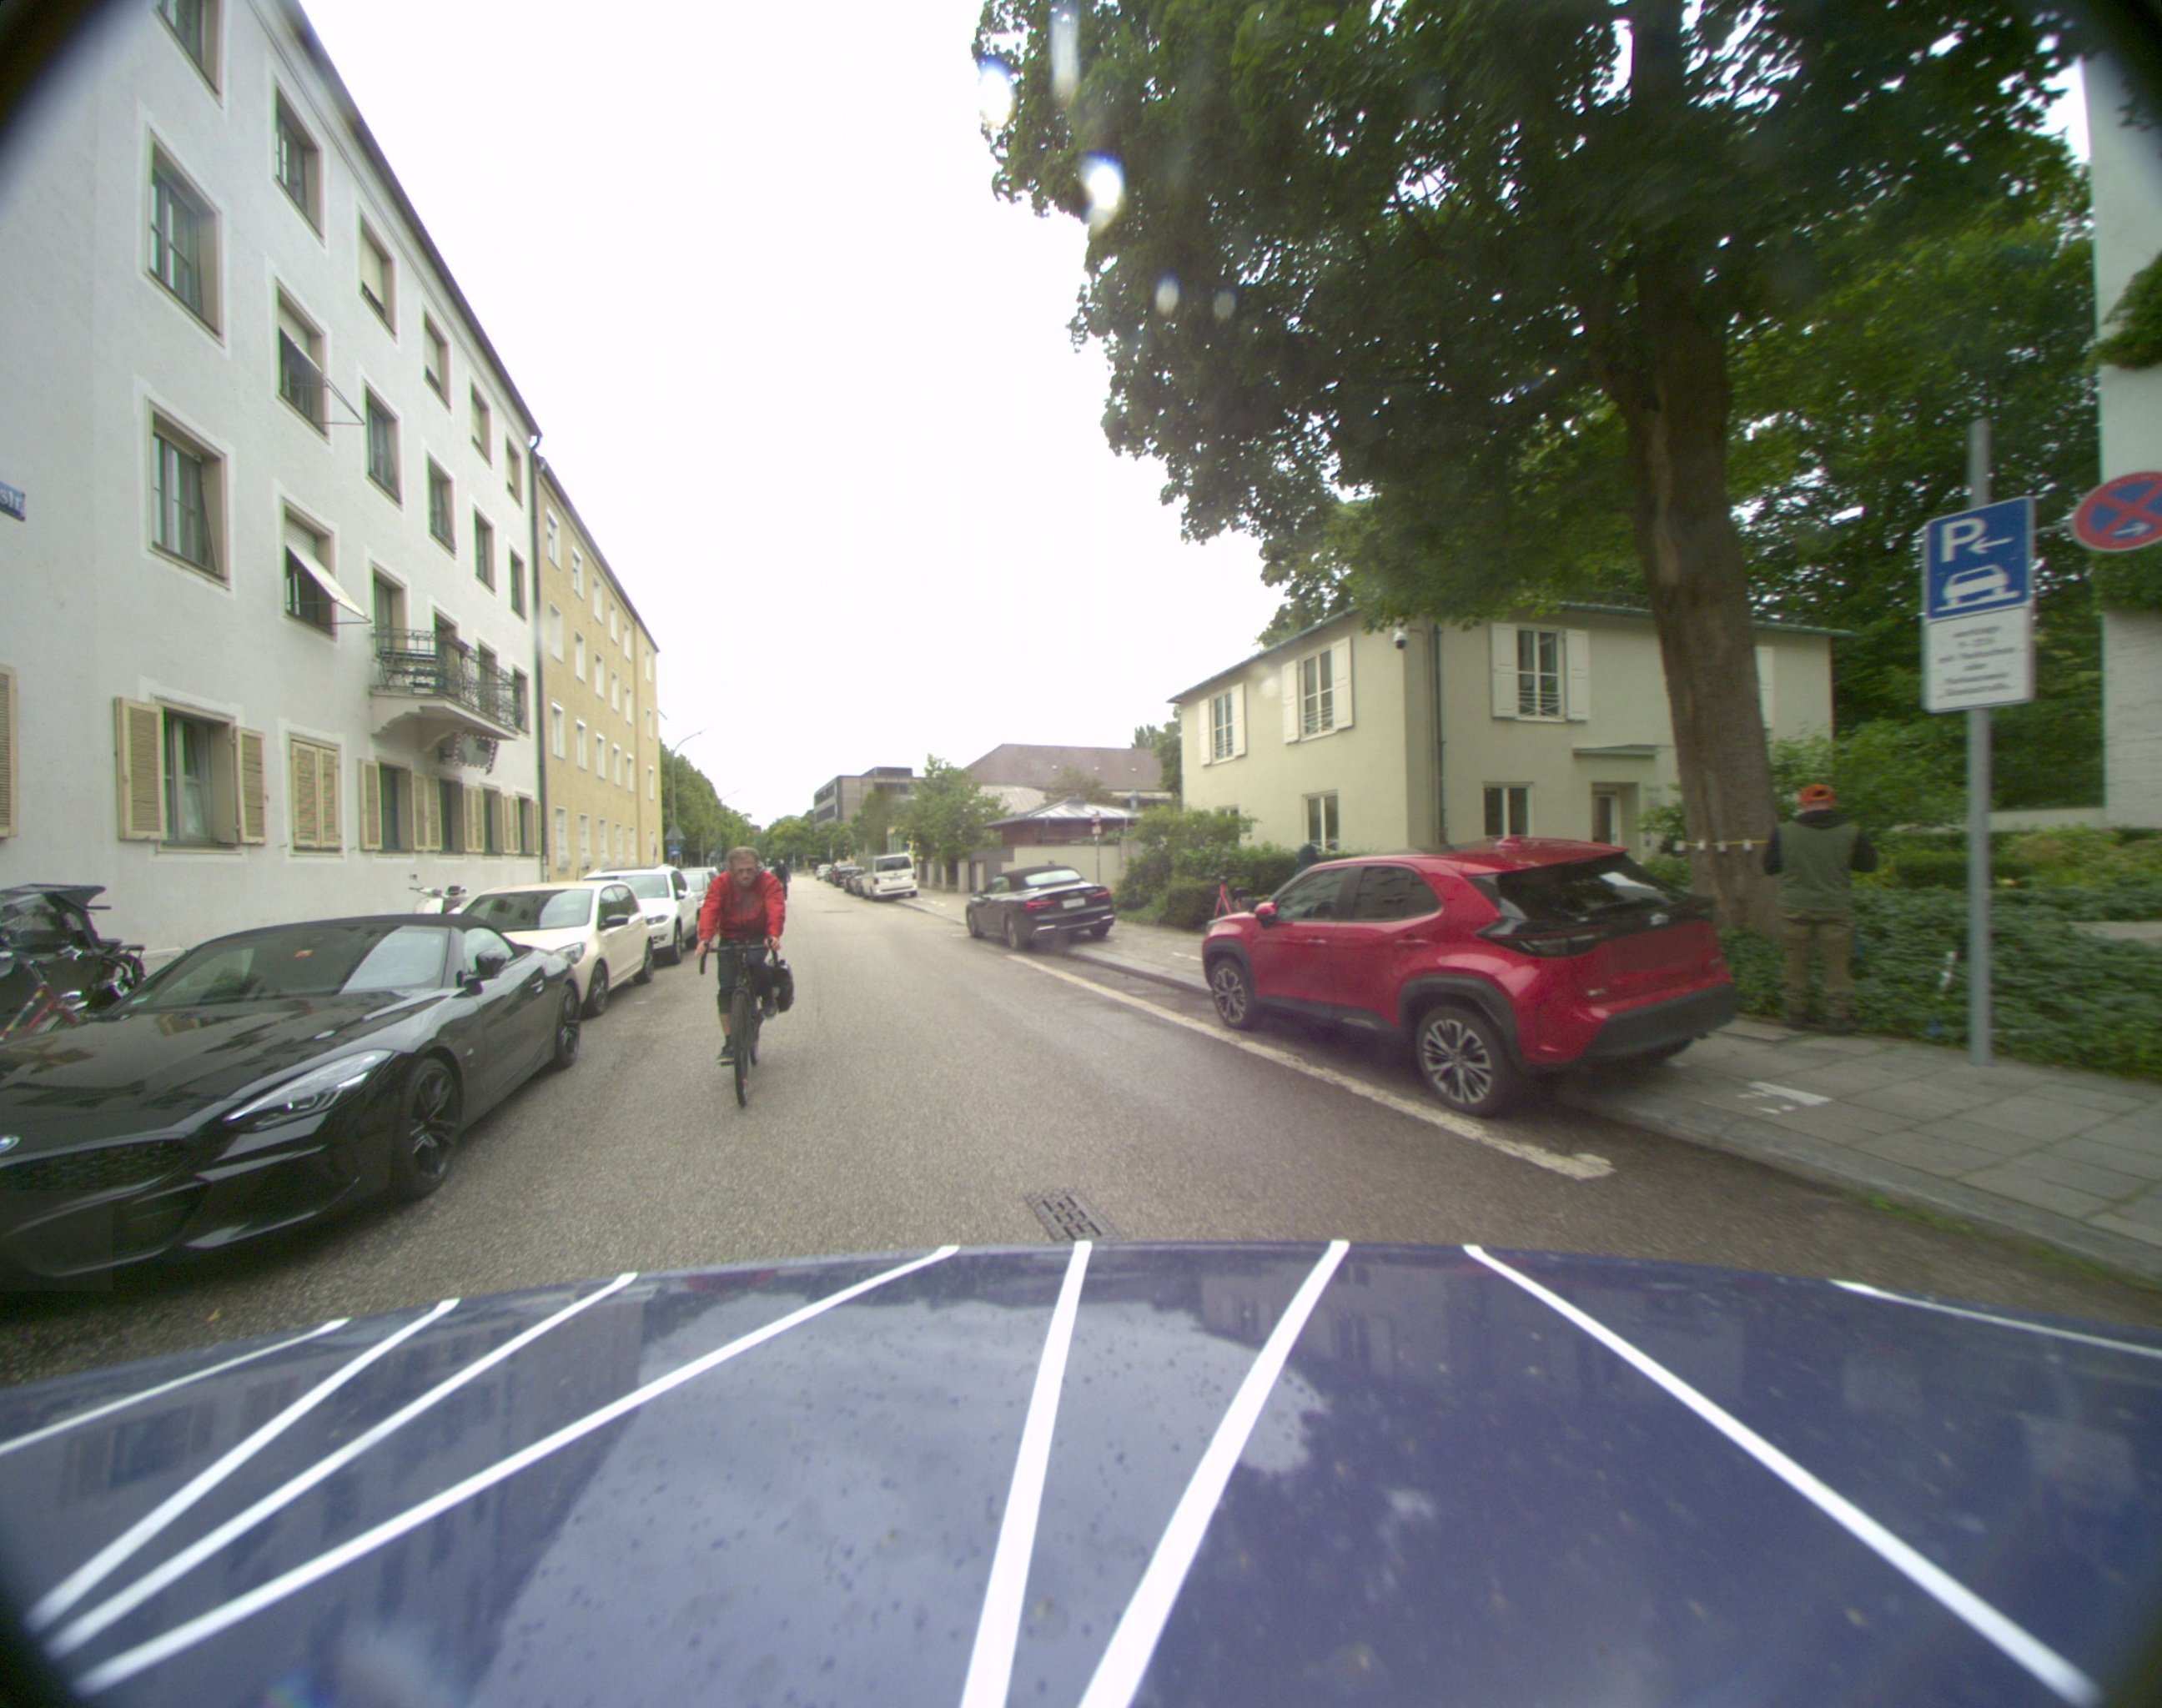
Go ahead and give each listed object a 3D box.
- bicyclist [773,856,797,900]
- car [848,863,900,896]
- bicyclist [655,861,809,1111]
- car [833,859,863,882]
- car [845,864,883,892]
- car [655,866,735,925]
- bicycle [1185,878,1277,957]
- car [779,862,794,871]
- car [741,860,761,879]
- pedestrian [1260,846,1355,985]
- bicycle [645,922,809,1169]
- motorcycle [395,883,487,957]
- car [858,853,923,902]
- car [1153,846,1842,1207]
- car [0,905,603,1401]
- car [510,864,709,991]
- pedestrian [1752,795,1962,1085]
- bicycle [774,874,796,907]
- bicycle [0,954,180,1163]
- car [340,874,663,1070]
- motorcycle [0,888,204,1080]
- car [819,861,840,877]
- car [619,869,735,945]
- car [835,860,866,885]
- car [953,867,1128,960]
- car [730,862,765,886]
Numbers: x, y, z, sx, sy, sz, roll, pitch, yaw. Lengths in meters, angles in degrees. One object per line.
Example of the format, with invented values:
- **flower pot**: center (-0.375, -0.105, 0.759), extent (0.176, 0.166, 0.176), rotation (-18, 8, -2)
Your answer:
- **bicyclist**: center (-11.533, 0.932, 29.593), extent (0.781, 1.657, 1.033), rotation (-3, 0, -21)
- **car**: center (-10.898, 1.285, 39.810), extent (1.895, 1.534, 4.687), rotation (-1, 0, -24)
- **bicyclist**: center (-2.319, 0.808, 5.179), extent (0.757, 1.474, 0.980), rotation (-3, 1, -16)
- **car**: center (-18.821, 1.310, 61.233), extent (1.910, 1.682, 4.800), rotation (-3, 1, -20)
- **car**: center (-12.760, 1.356, 44.538), extent (1.867, 1.535, 4.180), rotation (1, 0, -20)
- **car**: center (-11.714, 1.170, 23.316), extent (1.868, 1.567, 4.890), rotation (0, 0, -23)
- **bicycle**: center (2.386, 0.977, 12.380), extent (0.652, 1.124, 2.045), rotation (-1, 0, -14)
- **car**: center (-49.607, 2.066, 127.929), extent (1.933, 1.390, 4.477), rotation (-1, 0, -26)
- **car**: center (-35.515, 1.608, 81.932), extent (1.792, 1.885, 4.565), rotation (-3, 1, -22)
- **pedestrian**: center (2.696, 0.697, 9.074), extent (0.716, 1.539, 0.751), rotation (-3, 1, -24)
- **bicycle**: center (-2.316, 1.147, 5.223), extent (0.675, 1.135, 2.008), rotation (-3, 1, -16)
- **motorcycle**: center (-12.431, 1.233, 14.838), extent (0.735, 1.232, 2.004), rotation (-3, 1, -22)
- **car**: center (-8.672, 0.997, 34.278), extent (1.975, 1.979, 5.141), rotation (-3, 1, -23)
- **car**: center (2.448, 0.803, 5.919), extent (1.895, 1.581, 4.520), rotation (-3, 1, -21)
- **car**: center (-4.503, 1.084, 4.442), extent (2.008, 1.311, 4.587), rotation (1, -1, -21)
- **car**: center (-7.923, 1.078, 13.287), extent (2.002, 1.697, 4.526), rotation (-3, 1, -20)
- **pedestrian**: center (5.426, 0.544, 5.344), extent (0.715, 1.842, 0.795), rotation (-3, 1, -20)
- **bicycle**: center (-11.510, 1.411, 29.558), extent (0.721, 1.199, 1.798), rotation (-3, 0, -21)
- **bicycle**: center (-6.516, 1.236, 4.383), extent (0.665, 1.057, 1.936), rotation (-1, 0, -13)
- **car**: center (-6.381, 1.130, 8.938), extent (1.777, 1.537, 3.705), rotation (-6, 2, -18)
- **motorcycle**: center (-9.237, 1.075, 6.663), extent (0.861, 1.425, 2.702), rotation (-1, 0, -22)
- **car**: center (-25.716, 1.539, 77.536), extent (1.732, 1.483, 4.453), rotation (-3, 1, -22)
- **car**: center (-9.563, 1.166, 18.326), extent (1.846, 1.522, 4.408), rotation (0, 0, -20)
- **car**: center (-16.618, 1.291, 54.684), extent (1.853, 1.598, 4.734), rotation (-3, 1, -20)
- **car**: center (-1.016, 1.015, 15.000), extent (1.815, 1.394, 4.914), rotation (-3, 1, -23)
- **car**: center (-25.101, 1.489, 57.321), extent (2.002, 1.621, 5.091), rotation (-3, 1, -20)
